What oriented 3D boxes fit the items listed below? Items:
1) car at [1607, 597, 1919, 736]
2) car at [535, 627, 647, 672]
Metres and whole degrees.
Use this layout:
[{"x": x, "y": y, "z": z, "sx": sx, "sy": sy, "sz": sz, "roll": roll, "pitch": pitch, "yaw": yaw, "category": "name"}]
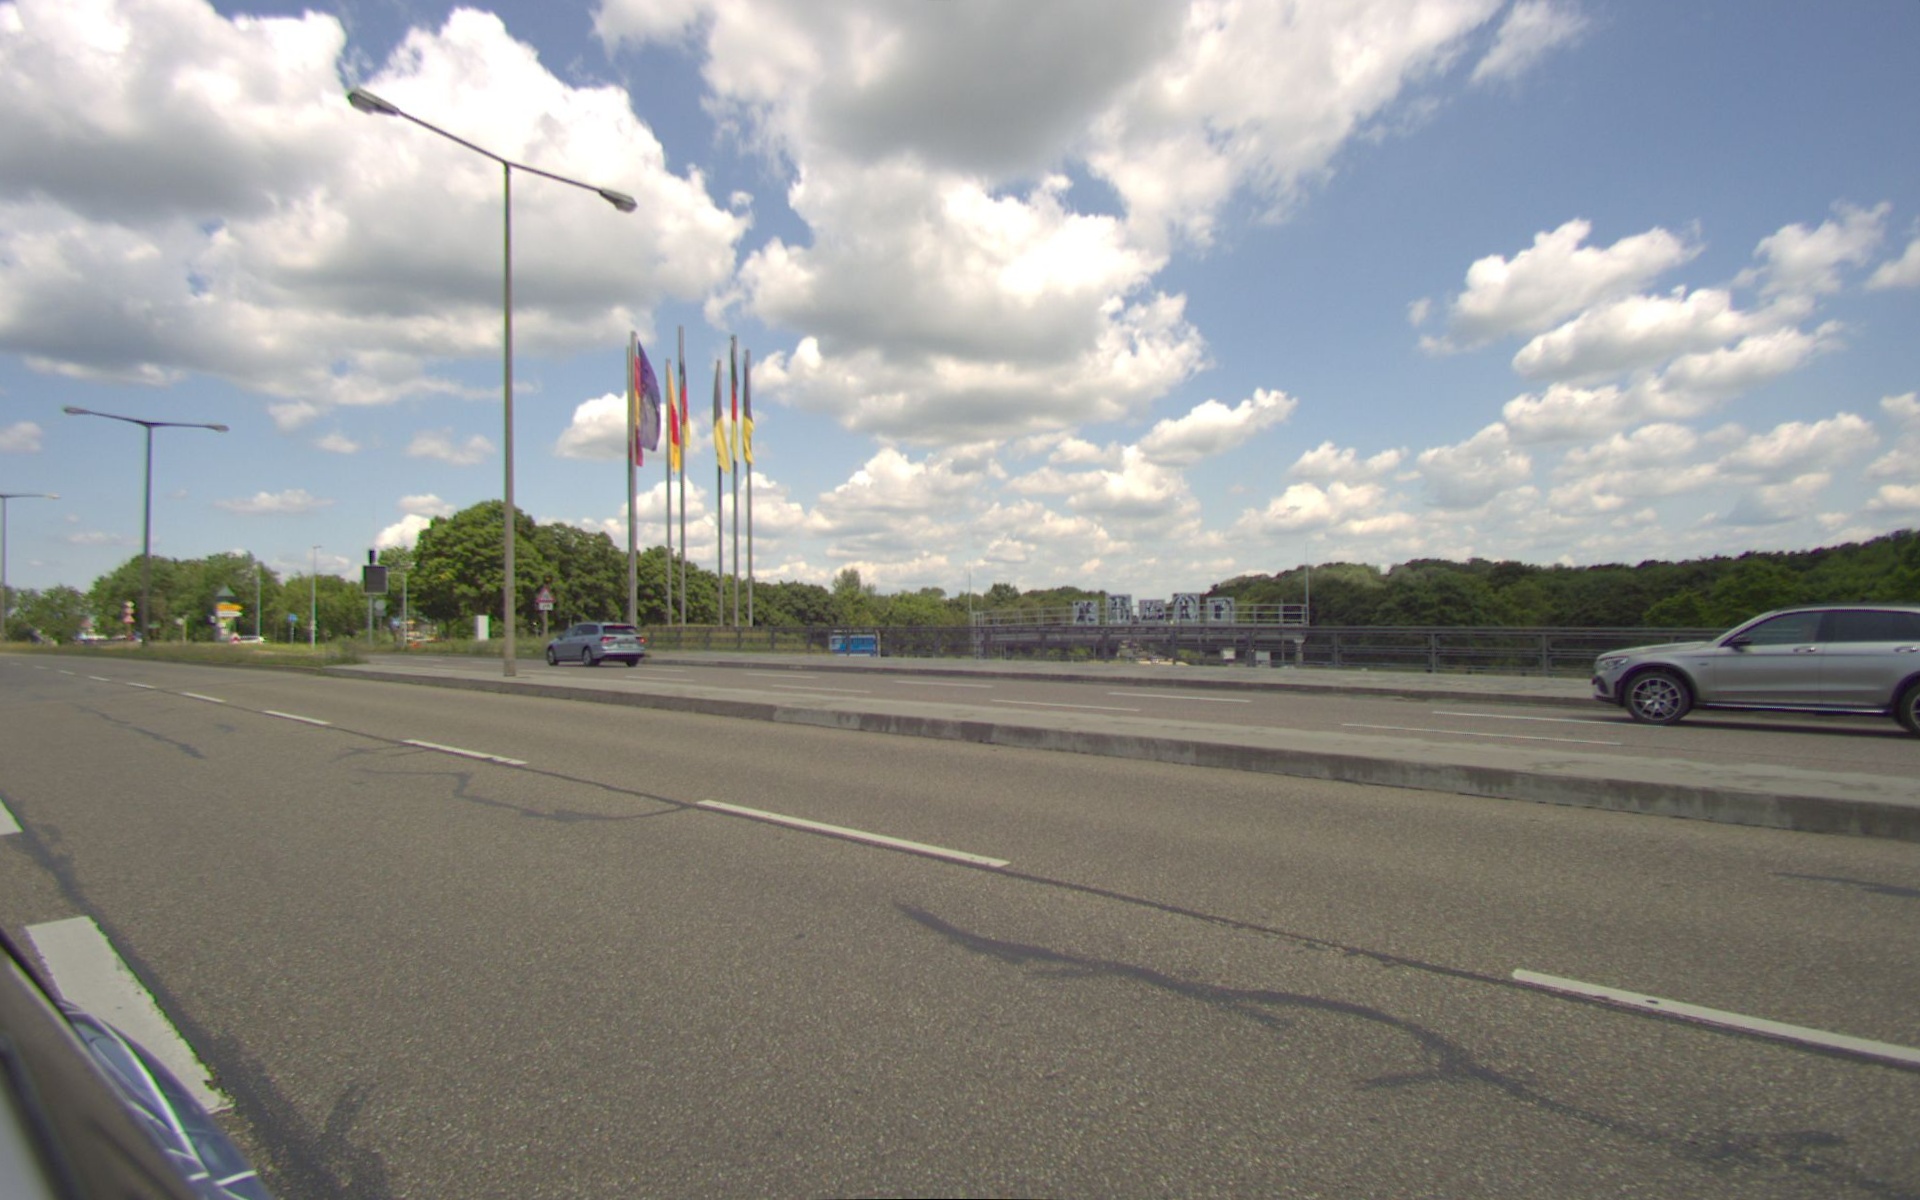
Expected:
[{"x": 11.344, "y": 0.874, "z": 13.303, "sx": 4.545, "sy": 1.639, "sz": 2.067, "roll": -3, "pitch": -5, "yaw": 40, "category": "car"}, {"x": -12.432, "y": 1.686, "z": 33.953, "sx": 4.550, "sy": 1.424, "sz": 1.645, "roll": -3, "pitch": -5, "yaw": 43, "category": "car"}]
